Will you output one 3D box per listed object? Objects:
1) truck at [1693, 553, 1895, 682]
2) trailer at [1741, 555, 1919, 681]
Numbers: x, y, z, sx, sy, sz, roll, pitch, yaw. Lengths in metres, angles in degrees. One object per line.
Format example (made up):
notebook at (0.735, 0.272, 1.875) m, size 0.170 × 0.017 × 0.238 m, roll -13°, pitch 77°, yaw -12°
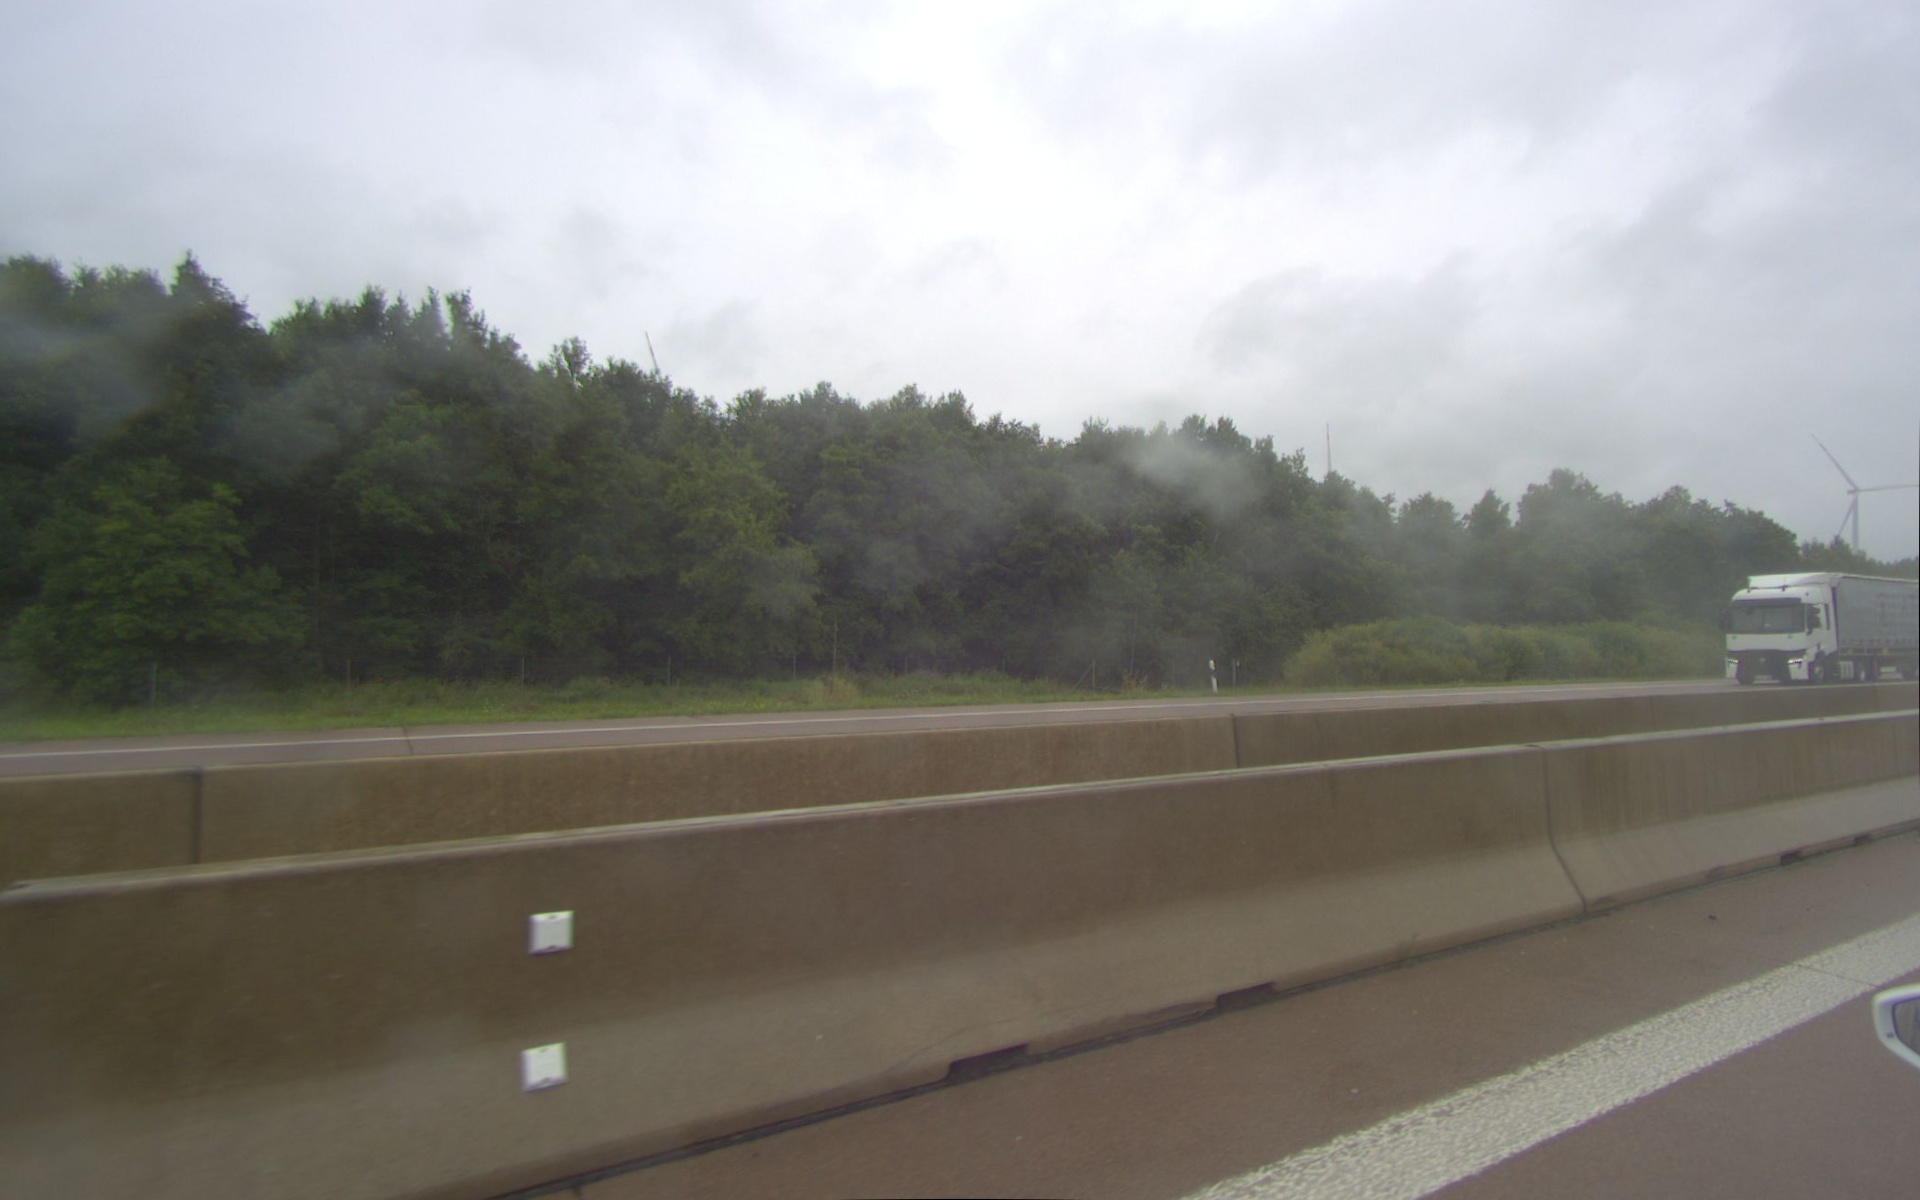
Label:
truck at (31.430, 0.685, 37.777) m, size 7.857 × 4.418 × 3.402 m, roll 2°, pitch 0°, yaw -31°
trailer at (36.638, 0.807, 40.876) m, size 12.302 × 4.525 × 3.413 m, roll 2°, pitch 0°, yaw -31°
